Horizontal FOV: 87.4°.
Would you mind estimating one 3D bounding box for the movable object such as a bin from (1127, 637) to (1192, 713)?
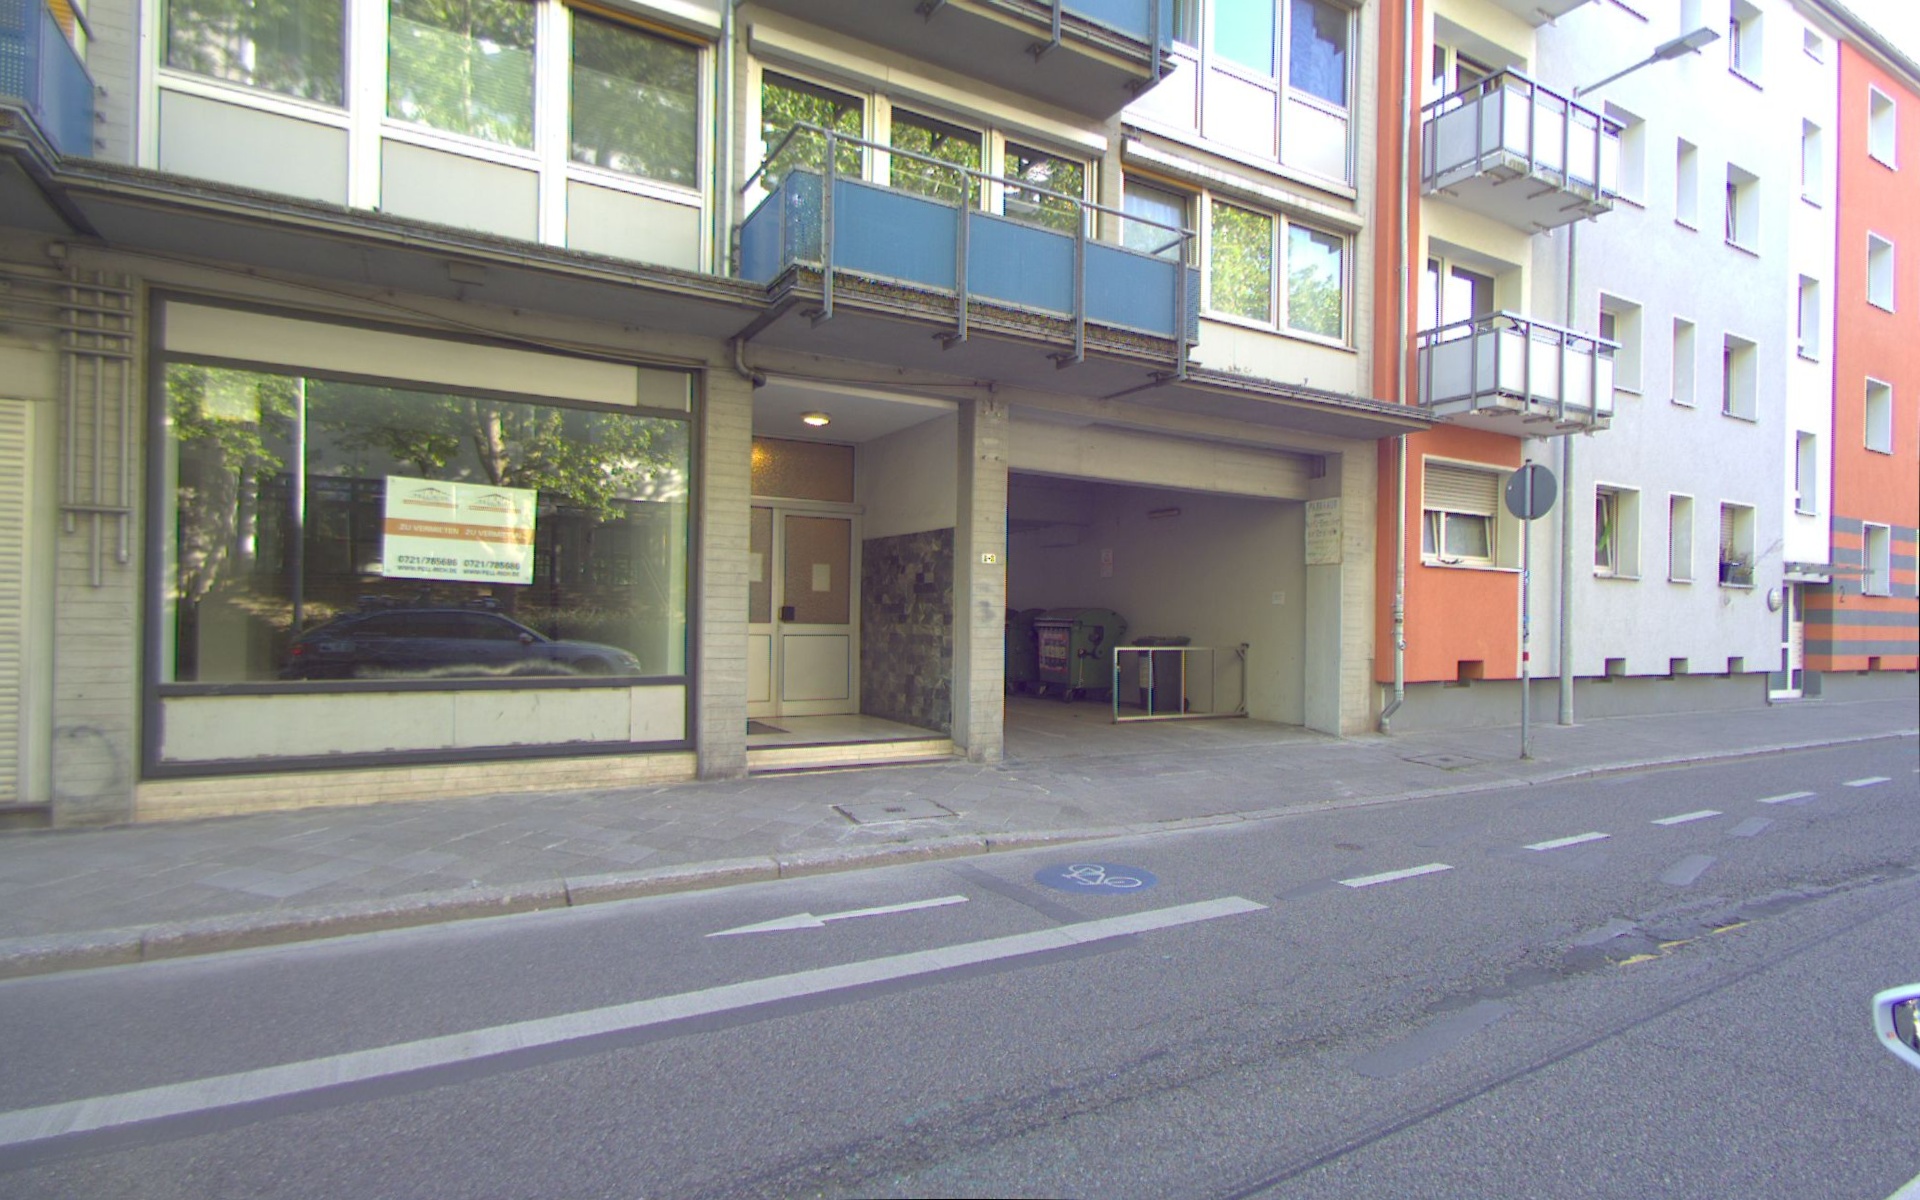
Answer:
[{"bbox_3d":[2.884,1.072,14.532,0.695,1.055,0.593,2,0,-30],"label":"movable object such as a bin"}]

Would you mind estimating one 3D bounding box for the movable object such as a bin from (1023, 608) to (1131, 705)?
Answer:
[{"bbox_3d":[1.834,0.859,15.850,1.128,1.449,1.342,1,0,-28],"label":"movable object such as a bin"}]

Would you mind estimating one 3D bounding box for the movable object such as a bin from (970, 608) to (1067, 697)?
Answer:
[{"bbox_3d":[0.982,0.865,17.173,1.119,1.449,1.322,1,0,-28],"label":"movable object such as a bin"}]

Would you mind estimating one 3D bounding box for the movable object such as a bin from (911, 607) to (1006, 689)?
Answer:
[{"bbox_3d":[-0.045,0.863,18.876,1.119,1.449,1.666,1,0,-28],"label":"movable object such as a bin"}]
